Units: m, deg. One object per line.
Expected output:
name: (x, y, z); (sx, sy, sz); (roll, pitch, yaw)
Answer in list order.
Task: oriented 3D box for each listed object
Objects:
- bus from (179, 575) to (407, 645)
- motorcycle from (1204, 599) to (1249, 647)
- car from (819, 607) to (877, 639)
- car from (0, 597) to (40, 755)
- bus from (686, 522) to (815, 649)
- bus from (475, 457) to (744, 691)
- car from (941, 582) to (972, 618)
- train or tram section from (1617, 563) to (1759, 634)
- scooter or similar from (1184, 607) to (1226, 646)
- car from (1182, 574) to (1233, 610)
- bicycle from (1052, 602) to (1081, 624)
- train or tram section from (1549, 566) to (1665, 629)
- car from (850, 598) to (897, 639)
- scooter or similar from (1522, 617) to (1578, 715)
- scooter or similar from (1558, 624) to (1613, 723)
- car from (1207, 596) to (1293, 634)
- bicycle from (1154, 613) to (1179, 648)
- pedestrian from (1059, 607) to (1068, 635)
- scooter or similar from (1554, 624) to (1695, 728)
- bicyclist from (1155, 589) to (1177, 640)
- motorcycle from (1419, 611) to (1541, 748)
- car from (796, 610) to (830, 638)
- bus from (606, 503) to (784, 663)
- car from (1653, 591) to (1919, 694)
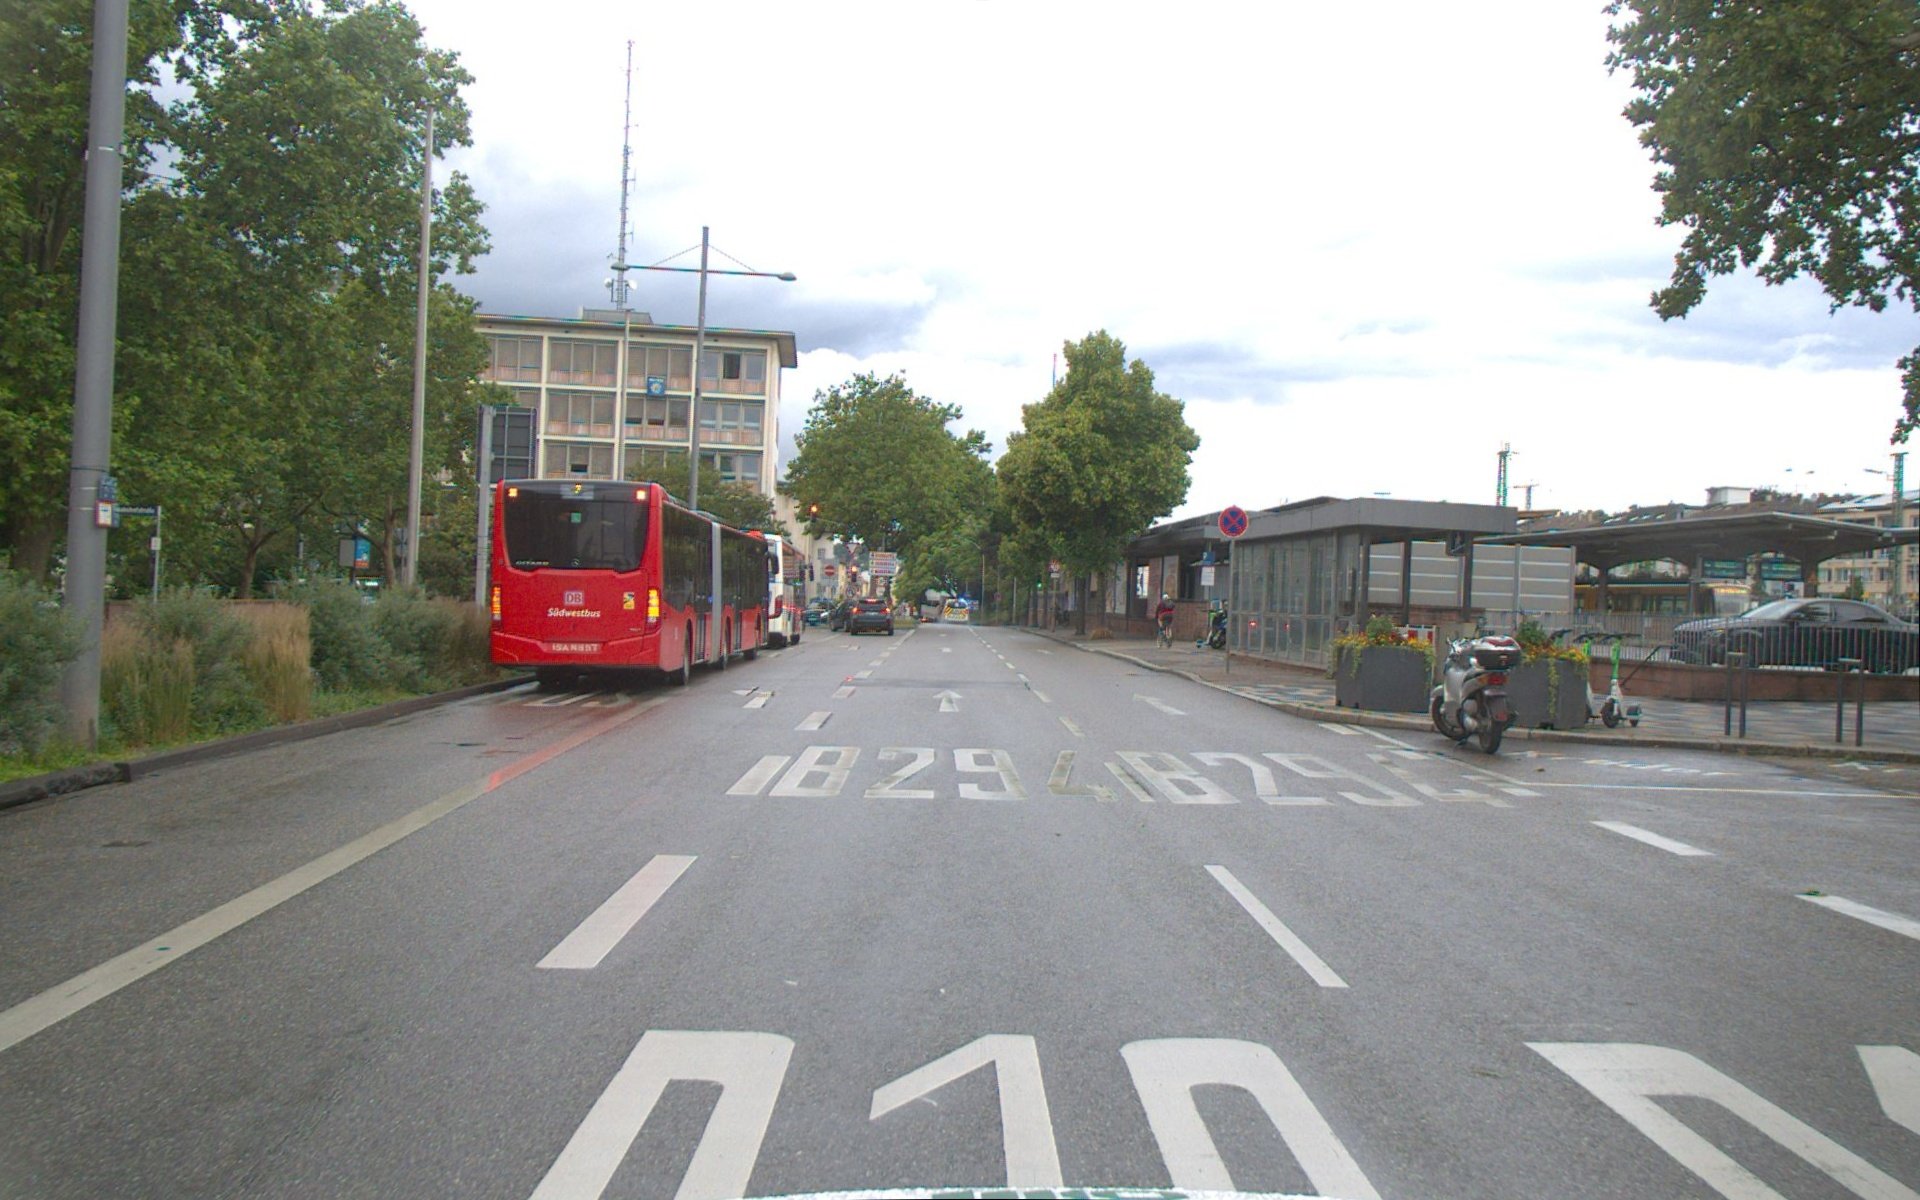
bus: (-33.726, 0.545, 83.512); (11.686, 3.072, 2.890); (-2, -1, 20)
motorcycle: (7.869, 0.674, 48.928); (0.776, 1.371, 2.455); (1, 0, -3)
car: (-5.285, 1.076, 77.803); (1.787, 1.434, 4.393); (1, 0, -17)
car: (-9.422, 0.683, 13.119); (1.755, 1.431, 4.981); (0, 0, -4)
bus: (-6.366, -0.409, 52.201); (2.896, 3.499, 12.553); (1, 0, -2)
bus: (-5.675, -0.387, 28.733); (2.753, 3.302, 9.910); (1, 0, -2)
car: (-0.300, -0.007, 128.431); (2.219, 2.703, 3.998); (1, 0, -3)
train or tram section: (36.403, -0.035, 83.183); (2.601, 3.340, 9.515); (0, 0, -2)
scooter or similar: (7.565, 0.799, 51.108); (0.485, 1.173, 1.705); (1, -1, -21)
car: (13.693, -0.427, 91.724); (1.954, 1.904, 4.595); (1, 0, -3)
bicycle: (6.270, 0.752, 97.492); (1.688, 1.271, 0.485); (0, 0, 31)
train or tram section: (36.013, -0.092, 92.456); (2.601, 3.340, 9.130); (0, 0, -2)
car: (-3.709, 0.786, 70.875); (1.925, 1.668, 4.356); (1, 0, -3)
scooter or similar: (7.471, 0.825, 20.916); (0.405, 1.175, 1.261); (3, 0, 30)
scooter or similar: (7.818, 0.906, 20.648); (0.405, 1.175, 1.261); (3, 0, 30)
car: (12.409, 0.636, 70.869); (3.483, 1.569, 1.748); (0, 0, 4)
bicycle: (6.395, 0.943, 51.290); (0.437, 1.034, 1.676); (-1, 0, -3)
pedestrian: (6.072, 1.239, 97.085); (0.448, 1.596, 0.392); (0, -1, 31)
scooter or similar: (8.392, 0.943, 20.972); (1.043, 1.175, 1.667); (3, 0, -1)
bicyclist: (6.390, 0.434, 51.310); (0.523, 1.565, 0.694); (-1, 0, -4)
motorcycle: (5.616, 0.823, 17.978); (0.630, 1.376, 2.109); (1, 0, 0)
car: (-8.686, 1.397, 97.525); (1.845, 1.537, 3.716); (3, 0, -6)
bus: (-5.866, -0.362, 38.057); (2.696, 3.187, 8.842); (1, 0, -1)
car: (16.288, 0.807, 32.359); (4.593, 1.907, 2.107); (1, 0, -5)
